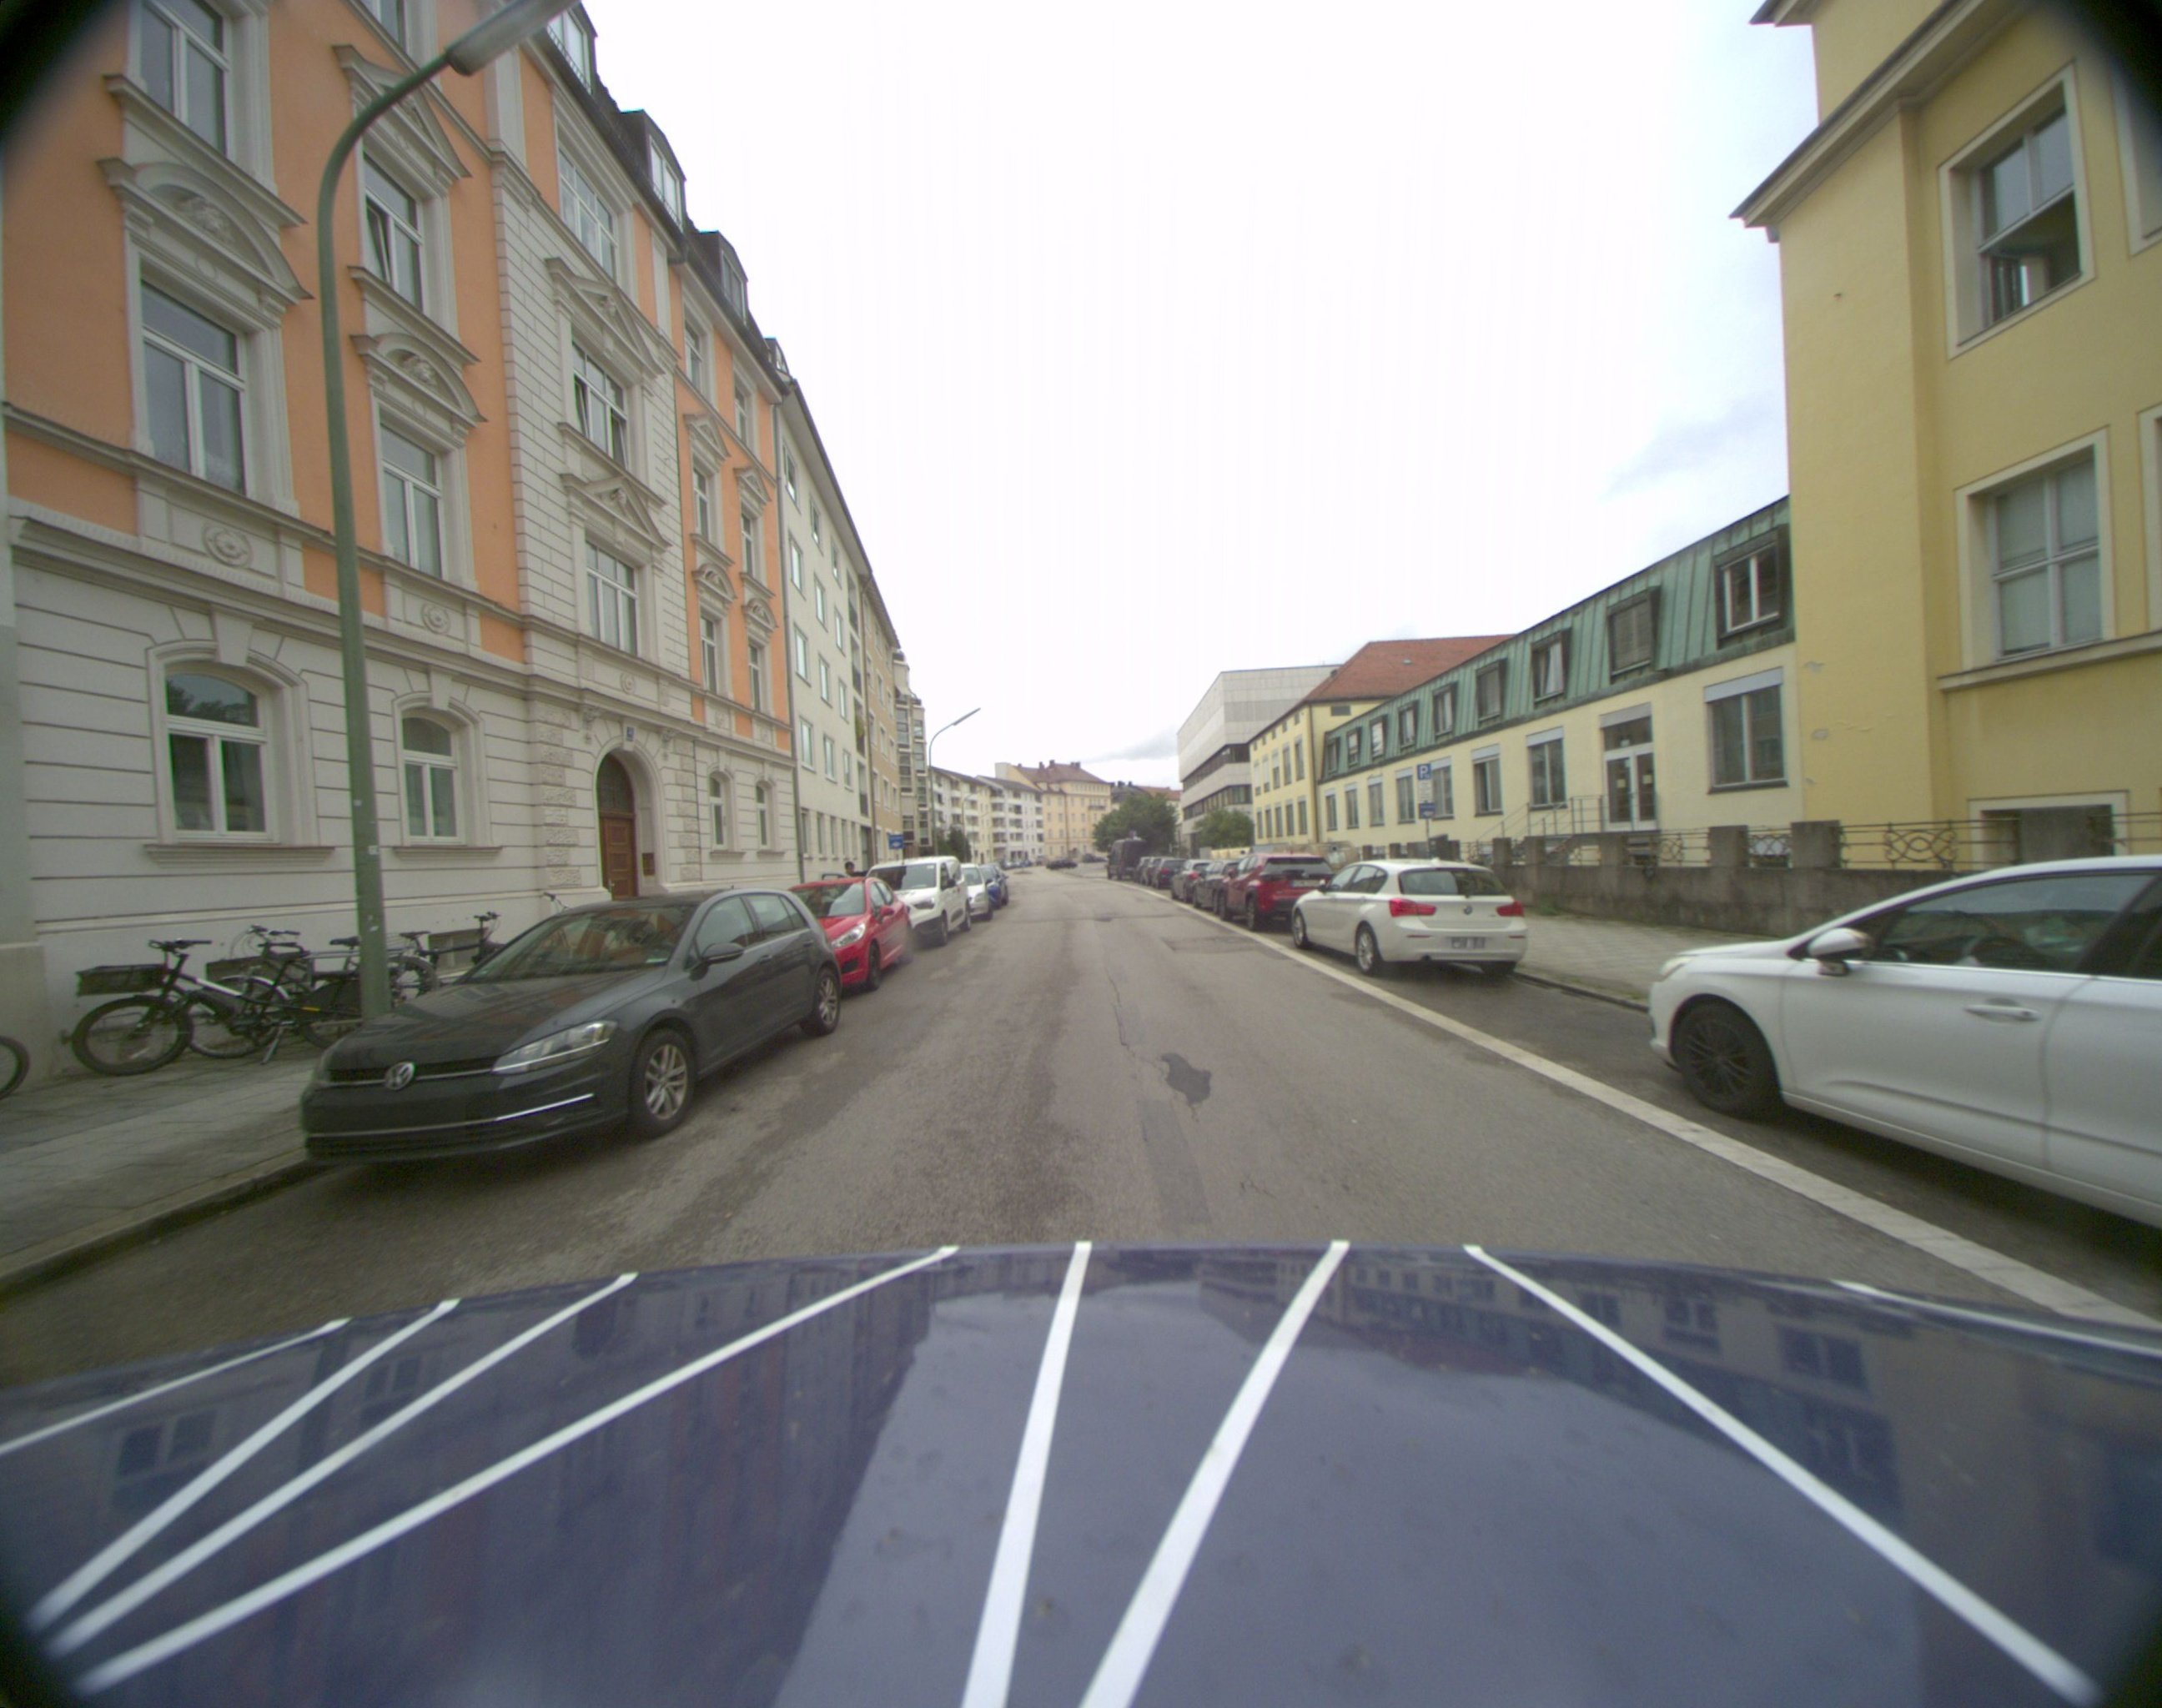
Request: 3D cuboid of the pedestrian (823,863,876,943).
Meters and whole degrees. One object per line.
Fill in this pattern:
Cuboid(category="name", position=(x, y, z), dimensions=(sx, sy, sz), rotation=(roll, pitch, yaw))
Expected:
Cuboid(category="pedestrian", position=(-5.030, 1.045, 16.528), dimensions=(0.863, 1.652, 0.647), rotation=(-3, 0, 0))

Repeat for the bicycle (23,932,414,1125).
Cuboid(category="bicycle", position=(-7.146, 1.372, 6.491), dimensions=(0.607, 1.176, 2.099), rotation=(-2, 0, 45))

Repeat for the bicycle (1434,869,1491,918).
Cuboid(category="bicycle", position=(8.716, 0.884, 17.432), dimensions=(0.456, 0.989, 1.741), rotation=(-5, 0, 4))

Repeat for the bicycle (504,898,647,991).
Cuboid(category="bicycle", position=(-7.412, 1.278, 11.287), dimensions=(0.652, 1.176, 2.096), rotation=(-1, -1, 3))

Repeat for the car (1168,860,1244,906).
Cuboid(category="car", position=(4.161, 0.925, 25.873), dimensions=(1.798, 1.396, 4.127), rotation=(0, 0, -2))

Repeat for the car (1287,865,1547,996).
Cuboid(category="car", position=(4.245, 0.878, 10.365), dimensions=(1.679, 1.390, 3.996), rotation=(0, 0, -2))

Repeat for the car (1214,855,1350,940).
Cuboid(category="car", position=(4.055, 0.805, 16.010), dimensions=(1.679, 1.557, 3.996), rotation=(0, 0, -2))

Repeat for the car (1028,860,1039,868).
Cuboid(category="car", position=(-9.296, 1.909, 150.000), dimensions=(1.756, 1.445, 3.570), rotation=(-3, 0, 2))

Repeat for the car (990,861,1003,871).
Cuboid(category="car", position=(-12.621, 1.775, 113.223), dimensions=(1.757, 1.445, 3.567), rotation=(-3, 0, -9))

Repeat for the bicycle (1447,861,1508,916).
Cuboid(category="bicycle", position=(9.159, 0.773, 17.628), dimensions=(0.424, 1.165, 1.938), rotation=(-5, 0, 4))

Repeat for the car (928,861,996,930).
Cuboid(category="car", position=(-3.307, 1.104, 21.619), dimensions=(1.608, 1.632, 3.629), rotation=(-5, 1, -6))

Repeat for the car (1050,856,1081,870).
Cuboid(category="car", position=(-2.249, 1.295, 107.529), dimensions=(4.248, 1.849, 1.999), rotation=(-2, 0, -5))

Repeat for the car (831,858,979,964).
Cuboid(category="car", position=(-3.564, 1.064, 16.401), dimensions=(1.845, 1.775, 4.895), rotation=(-5, 0, 1))

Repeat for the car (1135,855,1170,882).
Cuboid(category="car", position=(4.268, 0.869, 45.843), dimensions=(1.642, 1.553, 3.838), rotation=(0, 0, -2))

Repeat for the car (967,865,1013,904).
Cuboid(category="car", position=(-3.870, 1.259, 32.729), dimensions=(1.746, 1.388, 4.199), rotation=(-4, 0, -6))

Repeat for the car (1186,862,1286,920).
Cuboid(category="car", position=(4.103, 0.944, 20.798), dimensions=(1.679, 1.396, 3.989), rotation=(0, 0, -4))

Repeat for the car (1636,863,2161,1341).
Cuboid(category="car", position=(4.363, 0.828, 2.729), dimensions=(1.727, 1.518, 4.087), rotation=(1, 0, 0))

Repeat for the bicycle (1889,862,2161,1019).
Cuboid(category="bicycle", position=(8.538, 0.698, 6.890), dimensions=(0.587, 1.190, 1.717), rotation=(-5, 0, 4))

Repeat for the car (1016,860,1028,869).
Cuboid(category="car", position=(-10.687, 1.877, 137.796), dimensions=(1.756, 1.445, 3.570), rotation=(-3, 0, 2))

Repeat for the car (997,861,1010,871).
Cuboid(category="car", position=(-12.110, 1.793, 118.312), dimensions=(1.756, 1.445, 3.569), rotation=(-3, 0, -3))

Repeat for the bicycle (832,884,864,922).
Cuboid(category="bicycle", position=(-7.836, 1.625, 25.603), dimensions=(0.669, 1.115, 1.651), rotation=(-4, 0, -6))

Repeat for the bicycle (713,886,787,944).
Cuboid(category="bicycle", position=(-7.391, 1.334, 17.076), dimensions=(0.652, 1.176, 2.096), rotation=(-1, -1, 3))

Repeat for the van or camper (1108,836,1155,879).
Cuboid(category="van or camper", position=(3.403, 0.244, 52.220), dimensions=(2.142, 2.791, 5.569), rotation=(-1, 0, -7))

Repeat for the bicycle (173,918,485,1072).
Cuboid(category="bicycle", position=(-7.201, 1.278, 7.415), dimensions=(0.607, 1.176, 2.100), rotation=(-2, -2, 44))

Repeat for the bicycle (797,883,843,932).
Cuboid(category="bicycle", position=(-6.900, 1.392, 20.187), dimensions=(0.669, 1.115, 1.954), rotation=(-4, 0, -6))

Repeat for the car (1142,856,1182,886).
Cuboid(category="car", position=(4.349, 0.889, 41.292), dimensions=(1.700, 1.553, 3.867), rotation=(0, 0, -2))

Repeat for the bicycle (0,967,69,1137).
Cuboid(category="bicycle", position=(-7.540, 1.344, 4.115), dimensions=(0.771, 1.068, 2.458), rotation=(-2, 0, 1))

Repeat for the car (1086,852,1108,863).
Cuboid(category="car", position=(2.993, 0.613, 143.549), dimensions=(3.997, 1.849, 2.000), rotation=(-3, 0, 1))

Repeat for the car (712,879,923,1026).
Cuboid(category="car", position=(-3.499, 1.209, 10.979), dimensions=(1.603, 1.442, 4.300), rotation=(-5, 0, -3))

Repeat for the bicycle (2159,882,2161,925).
Cuboid(category="bicycle", position=(8.565, 0.742, 5.040), dimensions=(0.587, 1.071, 1.718), rotation=(-5, 0, 13))

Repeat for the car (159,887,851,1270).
Cuboid(category="car", position=(-3.270, 1.130, 5.528), dimensions=(1.696, 1.442, 4.083), rotation=(-5, 0, 2))

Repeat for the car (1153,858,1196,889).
Cuboid(category="car", position=(4.447, 0.906, 36.455), dimensions=(1.699, 1.396, 4.001), rotation=(0, 0, 2))

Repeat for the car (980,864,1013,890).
Cuboid(category="car", position=(-5.234, 1.381, 47.238), dimensions=(1.896, 1.454, 4.488), rotation=(-1, 0, -6))

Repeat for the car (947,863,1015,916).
Cuboid(category="car", position=(-3.450, 1.174, 26.911), dimensions=(1.745, 1.578, 4.200), rotation=(-5, 0, -1))
